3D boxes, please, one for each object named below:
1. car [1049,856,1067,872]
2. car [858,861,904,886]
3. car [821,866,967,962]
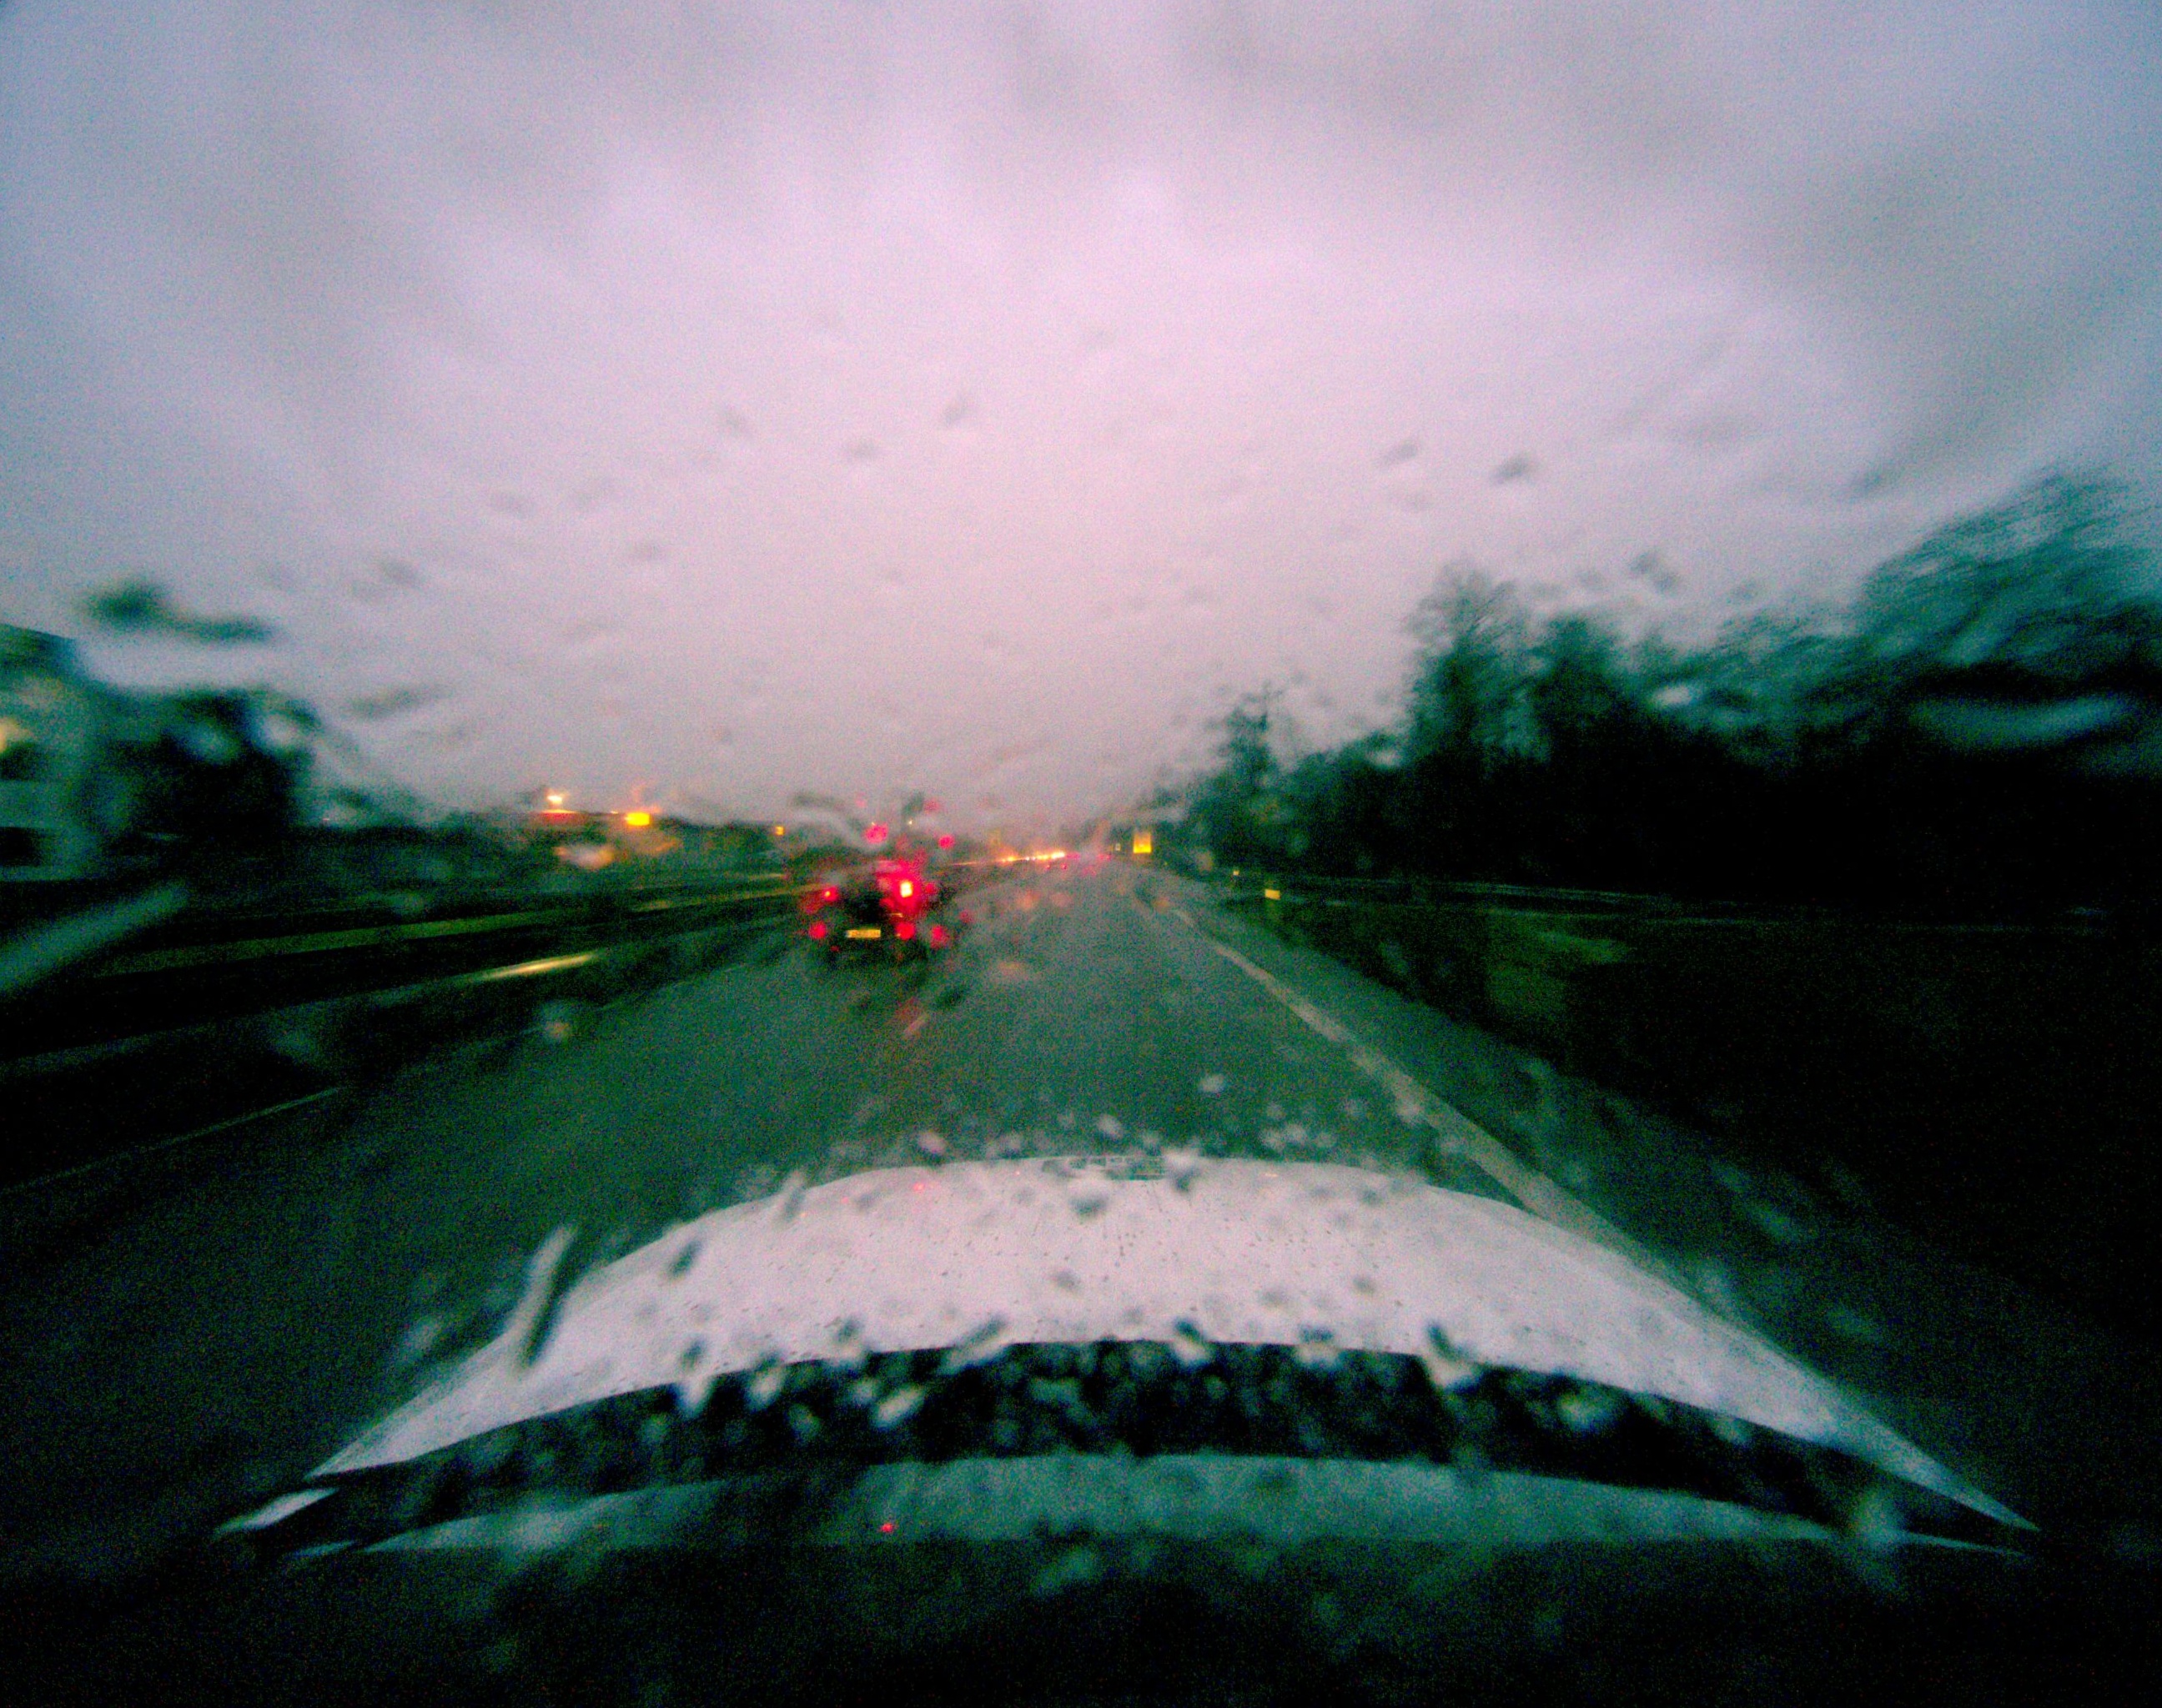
[{"bbox_3d":[-1.888,0.811,67.924,1.411,1.317,3.083,0,0,0],"label":"car"},{"bbox_3d":[-12.353,1.175,50.532,1.730,1.508,4.001,0,0,1],"label":"car"},{"bbox_3d":[-3.057,0.928,14.113,1.621,1.392,3.998,0,0,-1],"label":"car"}]
